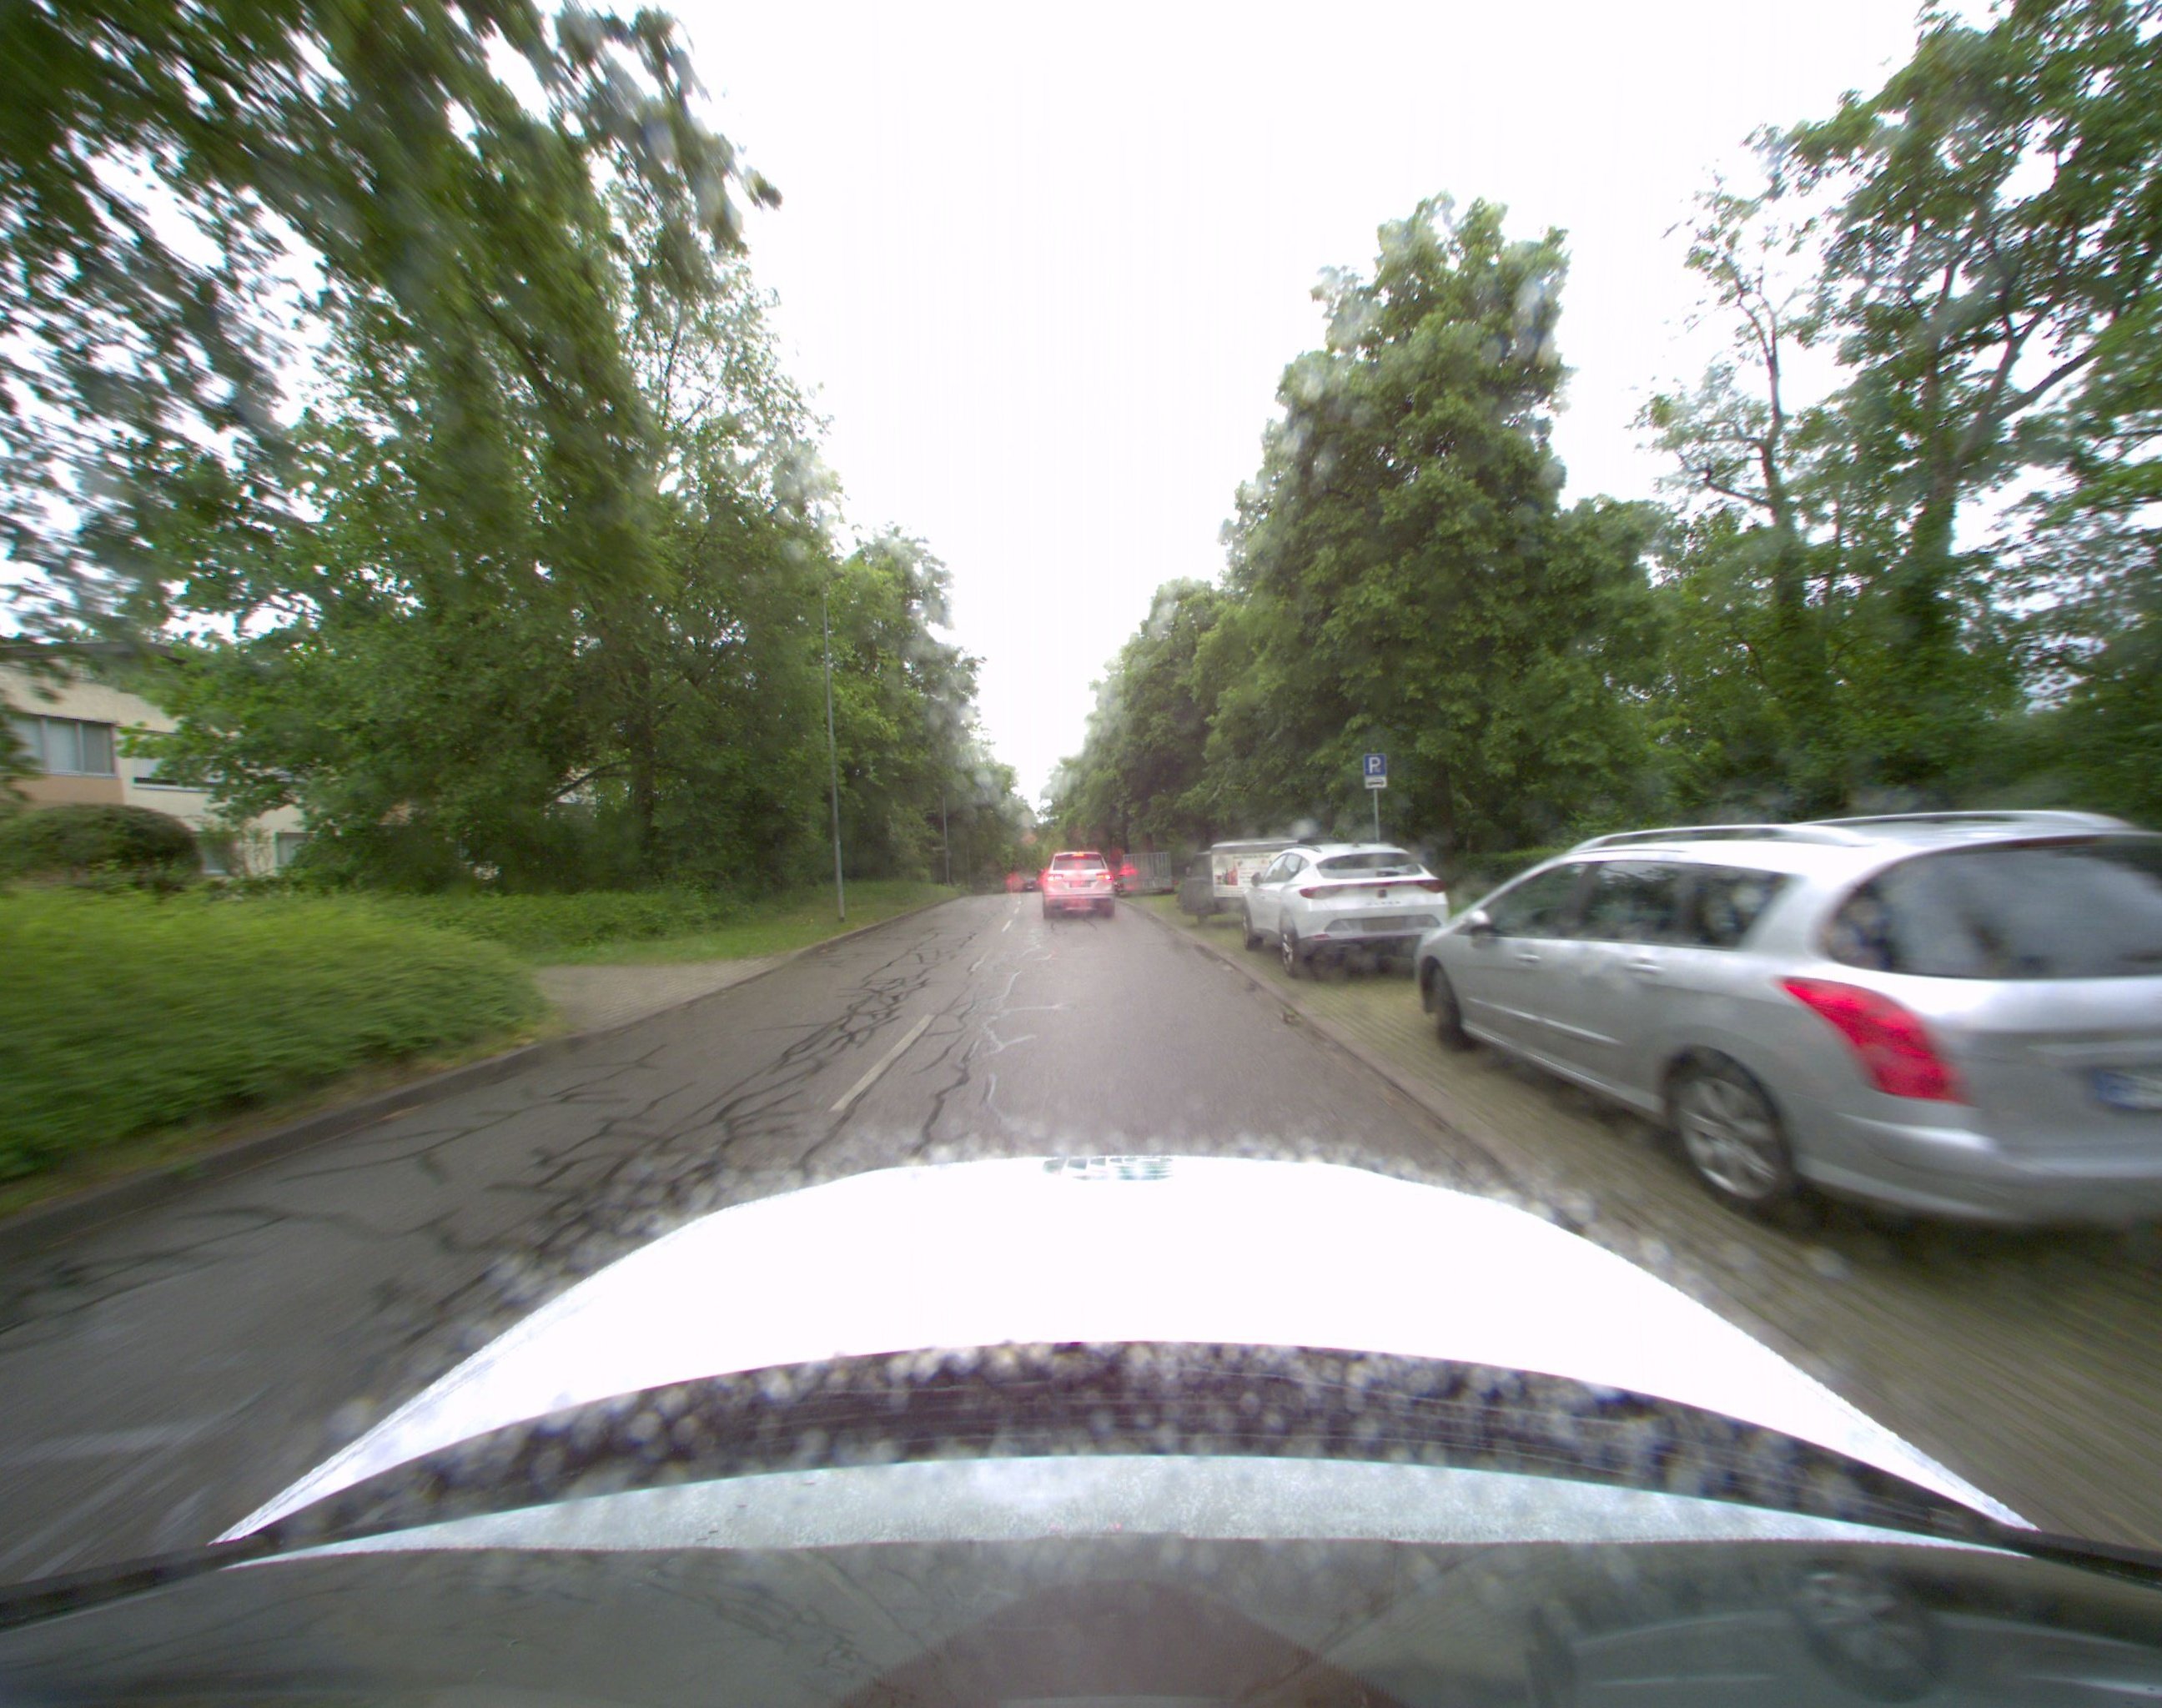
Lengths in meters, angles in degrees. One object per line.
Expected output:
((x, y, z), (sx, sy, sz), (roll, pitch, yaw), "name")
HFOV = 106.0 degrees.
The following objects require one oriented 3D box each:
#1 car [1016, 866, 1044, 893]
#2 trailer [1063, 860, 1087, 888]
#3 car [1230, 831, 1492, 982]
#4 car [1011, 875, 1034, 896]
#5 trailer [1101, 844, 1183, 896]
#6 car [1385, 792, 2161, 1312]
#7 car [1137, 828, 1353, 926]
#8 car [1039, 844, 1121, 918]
((-4.431, 2.208, 70.689), (1.993, 2.013, 3.989), (-3, 2, -9), "car")
((-0.509, 1.647, 65.537), (1.528, 2.076, 3.991), (-4, -2, -5), "trailer")
((3.397, 0.533, 10.942), (1.986, 1.497, 4.568), (-3, 0, 1), "car")
((-6.491, 3.433, 89.969), (1.995, 2.013, 3.984), (-3, 2, -12), "car")
((2.389, 0.689, 33.681), (2.445, 1.813, 5.882), (-3, -2, -4), "trailer")
((3.399, 0.517, 4.594), (1.799, 1.538, 4.268), (-2, 2, 1), "car")
((3.146, 0.503, 16.284), (1.620, 1.681, 3.958), (-3, -1, -42), "car")
((-0.140, 0.678, 21.956), (1.901, 1.685, 4.195), (-4, -1, -3), "car")
